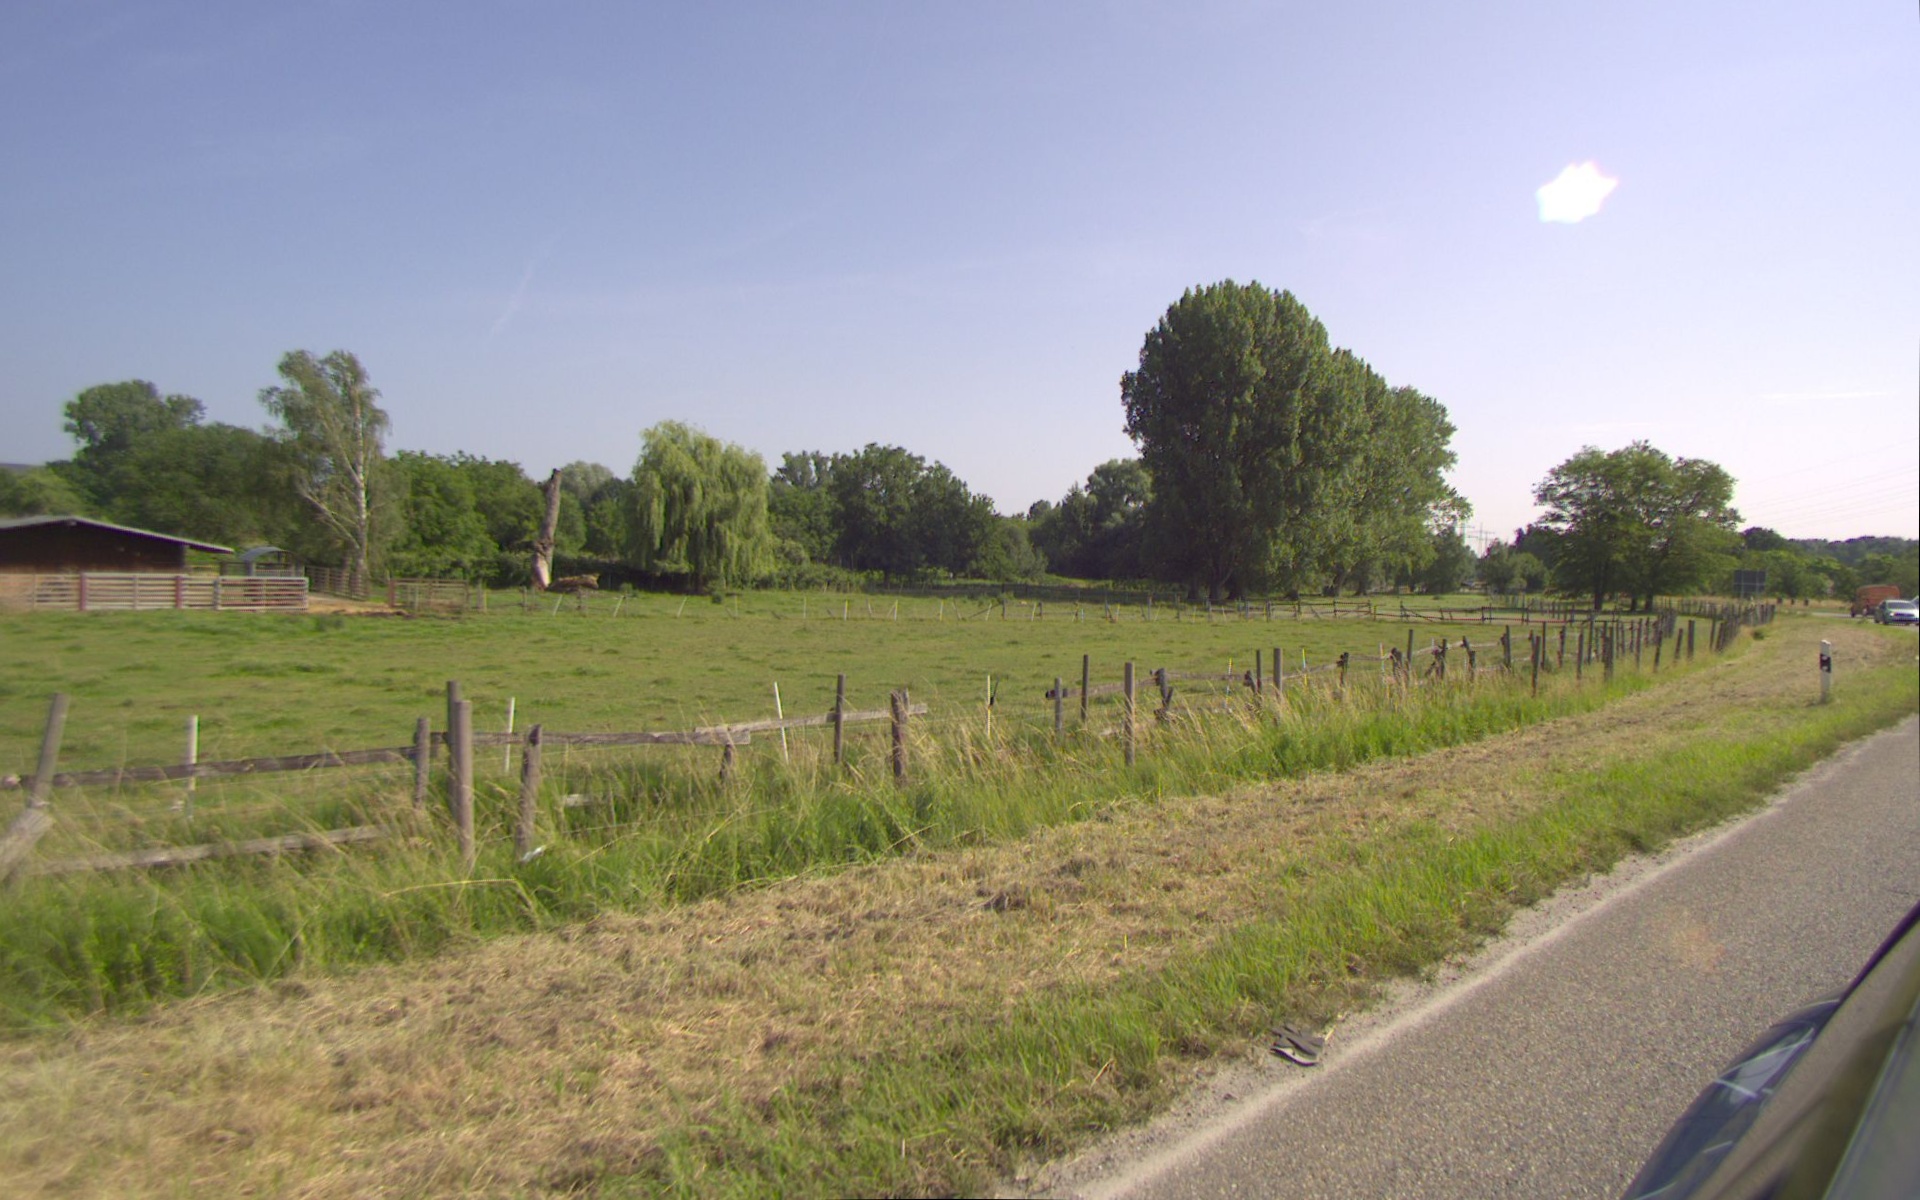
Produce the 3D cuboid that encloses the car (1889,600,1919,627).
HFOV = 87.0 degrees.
[{"bbox_3d":[59.914,0.859,63.594,1.991,1.599,3.853,2,2,39],"label":"car"}]

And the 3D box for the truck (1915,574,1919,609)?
[{"bbox_3d":[87.928,-0.664,87.548,7.324,3.083,2.550,2,1,37],"label":"truck"}]

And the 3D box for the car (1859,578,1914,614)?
[{"bbox_3d":[74.415,-0.358,81.389,2.113,2.729,5.212,2,1,30],"label":"car"}]
